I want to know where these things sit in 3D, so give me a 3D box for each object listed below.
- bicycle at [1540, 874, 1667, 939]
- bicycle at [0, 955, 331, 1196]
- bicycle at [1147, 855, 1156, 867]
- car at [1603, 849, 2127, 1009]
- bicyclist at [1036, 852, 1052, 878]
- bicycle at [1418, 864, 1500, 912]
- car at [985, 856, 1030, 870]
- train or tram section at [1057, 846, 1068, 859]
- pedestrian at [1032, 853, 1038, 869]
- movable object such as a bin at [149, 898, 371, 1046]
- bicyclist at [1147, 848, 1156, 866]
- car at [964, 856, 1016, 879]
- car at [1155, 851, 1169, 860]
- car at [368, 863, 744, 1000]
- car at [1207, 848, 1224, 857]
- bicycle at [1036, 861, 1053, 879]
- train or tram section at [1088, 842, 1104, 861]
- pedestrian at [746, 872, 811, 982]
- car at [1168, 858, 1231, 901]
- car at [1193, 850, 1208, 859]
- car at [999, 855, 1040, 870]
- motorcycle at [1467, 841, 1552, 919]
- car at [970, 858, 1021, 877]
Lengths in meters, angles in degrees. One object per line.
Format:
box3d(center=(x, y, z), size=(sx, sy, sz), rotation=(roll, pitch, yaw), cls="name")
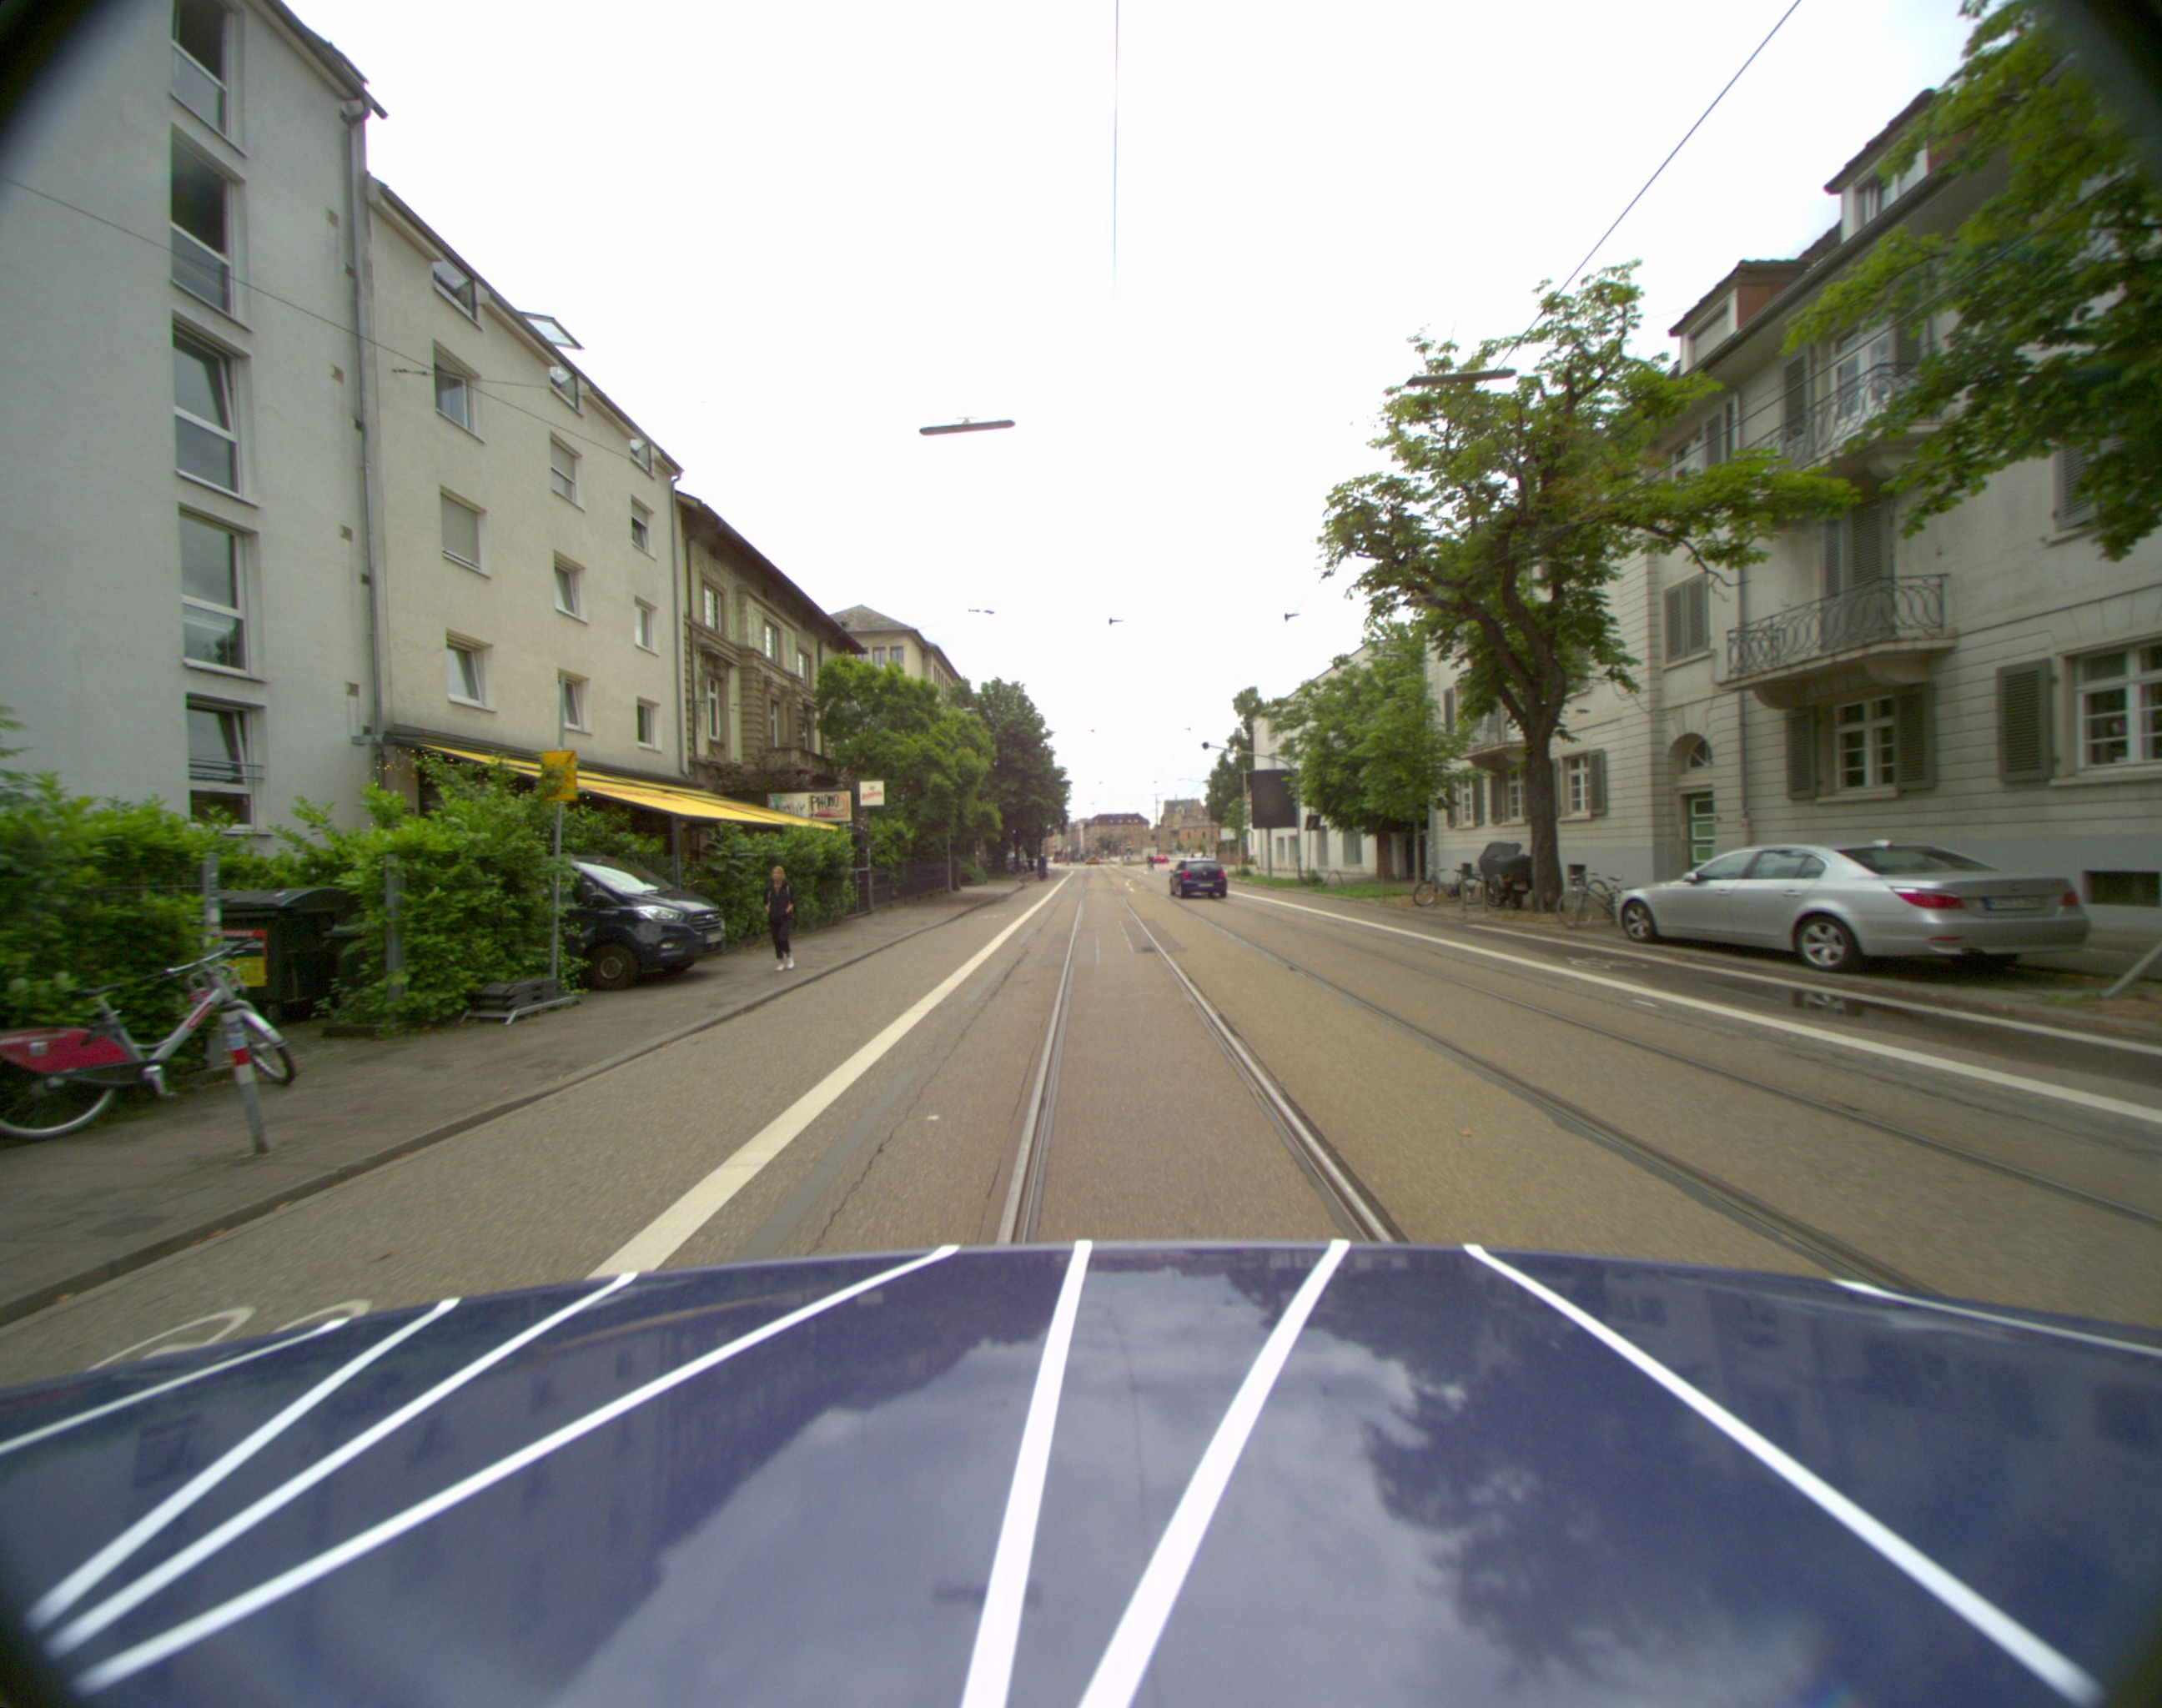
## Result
box3d(center=(9.300, 0.922, 13.551), size=(1.900, 1.021, 0.564), rotation=(-3, 1, -3), cls="bicycle")
box3d(center=(-6.324, 1.366, 5.169), size=(0.634, 1.121, 1.812), rotation=(0, 0, 0), cls="bicycle")
box3d(center=(7.452, 0.720, 80.260), size=(0.793, 1.179, 2.012), rotation=(1, 0, 9), cls="bicycle")
box3d(center=(9.069, 0.716, 9.557), size=(1.816, 1.457, 4.614), rotation=(-2, 0, 1), cls="car")
box3d(center=(-2.613, 0.765, 54.059), size=(0.881, 1.811, 1.479), rotation=(-2, -1, 6), cls="bicyclist")
box3d(center=(9.527, 0.861, 19.210), size=(1.744, 1.122, 0.518), rotation=(-4, 0, 19), cls="bicycle")
box3d(center=(-7.761, 0.919, 80.312), size=(4.338, 1.394, 1.750), rotation=(-2, 0, -32), cls="car")
box3d(center=(-4.334, -0.351, 180.315), size=(2.609, 2.936, 4.965), rotation=(-2, 0, -1), cls="train or tram section")
box3d(center=(-5.260, 0.787, 86.847), size=(0.614, 1.740, 0.685), rotation=(-2, 1, -13), cls="pedestrian")
box3d(center=(-8.765, 1.224, 8.180), size=(1.228, 1.410, 1.019), rotation=(-2, 1, 3), cls="movable object such as a bin")
box3d(center=(7.469, 0.315, 80.256), size=(0.793, 1.773, 1.148), rotation=(1, 1, 8), cls="bicyclist")
box3d(center=(-7.595, 1.074, 63.381), size=(3.846, 1.810, 1.803), rotation=(-1, 0, -30), cls="car")
box3d(center=(13.624, 0.264, 128.202), size=(1.758, 1.490, 4.004), rotation=(0, 1, 14), cls="car")
box3d(center=(-7.537, 1.070, 11.204), size=(4.290, 1.798, 1.824), rotation=(-1, 0, 3), cls="car")
box3d(center=(26.324, -0.249, 149.071), size=(1.682, 1.641, 3.988), rotation=(-1, 1, 35), cls="car")
box3d(center=(-2.594, 1.142, 53.998), size=(0.852, 1.234, 2.311), rotation=(-2, -1, 6), cls="bicycle")
box3d(center=(2.904, -0.510, 148.839), size=(2.631, 3.659, 5.984), rotation=(-2, 0, -1), cls="train or tram section")
box3d(center=(-4.838, 1.145, 12.193), size=(0.625, 1.661, 0.960), rotation=(1, 0, 0), cls="pedestrian")
box3d(center=(4.286, 0.887, 27.913), size=(1.733, 1.400, 3.655), rotation=(-2, 0, 1), cls="car")
box3d(center=(22.427, 0.067, 142.689), size=(1.491, 1.500, 3.476), rotation=(-1, 1, 34), cls="car")
box3d(center=(-7.128, 0.987, 88.111), size=(4.330, 1.542, 1.747), rotation=(-2, 0, -22), cls="car")
box3d(center=(9.644, 0.542, 17.215), size=(0.834, 1.633, 2.481), rotation=(-1, 0, 9), cls="motorcycle")
box3d(center=(-7.493, 1.158, 66.574), size=(4.007, 1.530, 1.860), rotation=(-1, 0, -34), cls="car")
